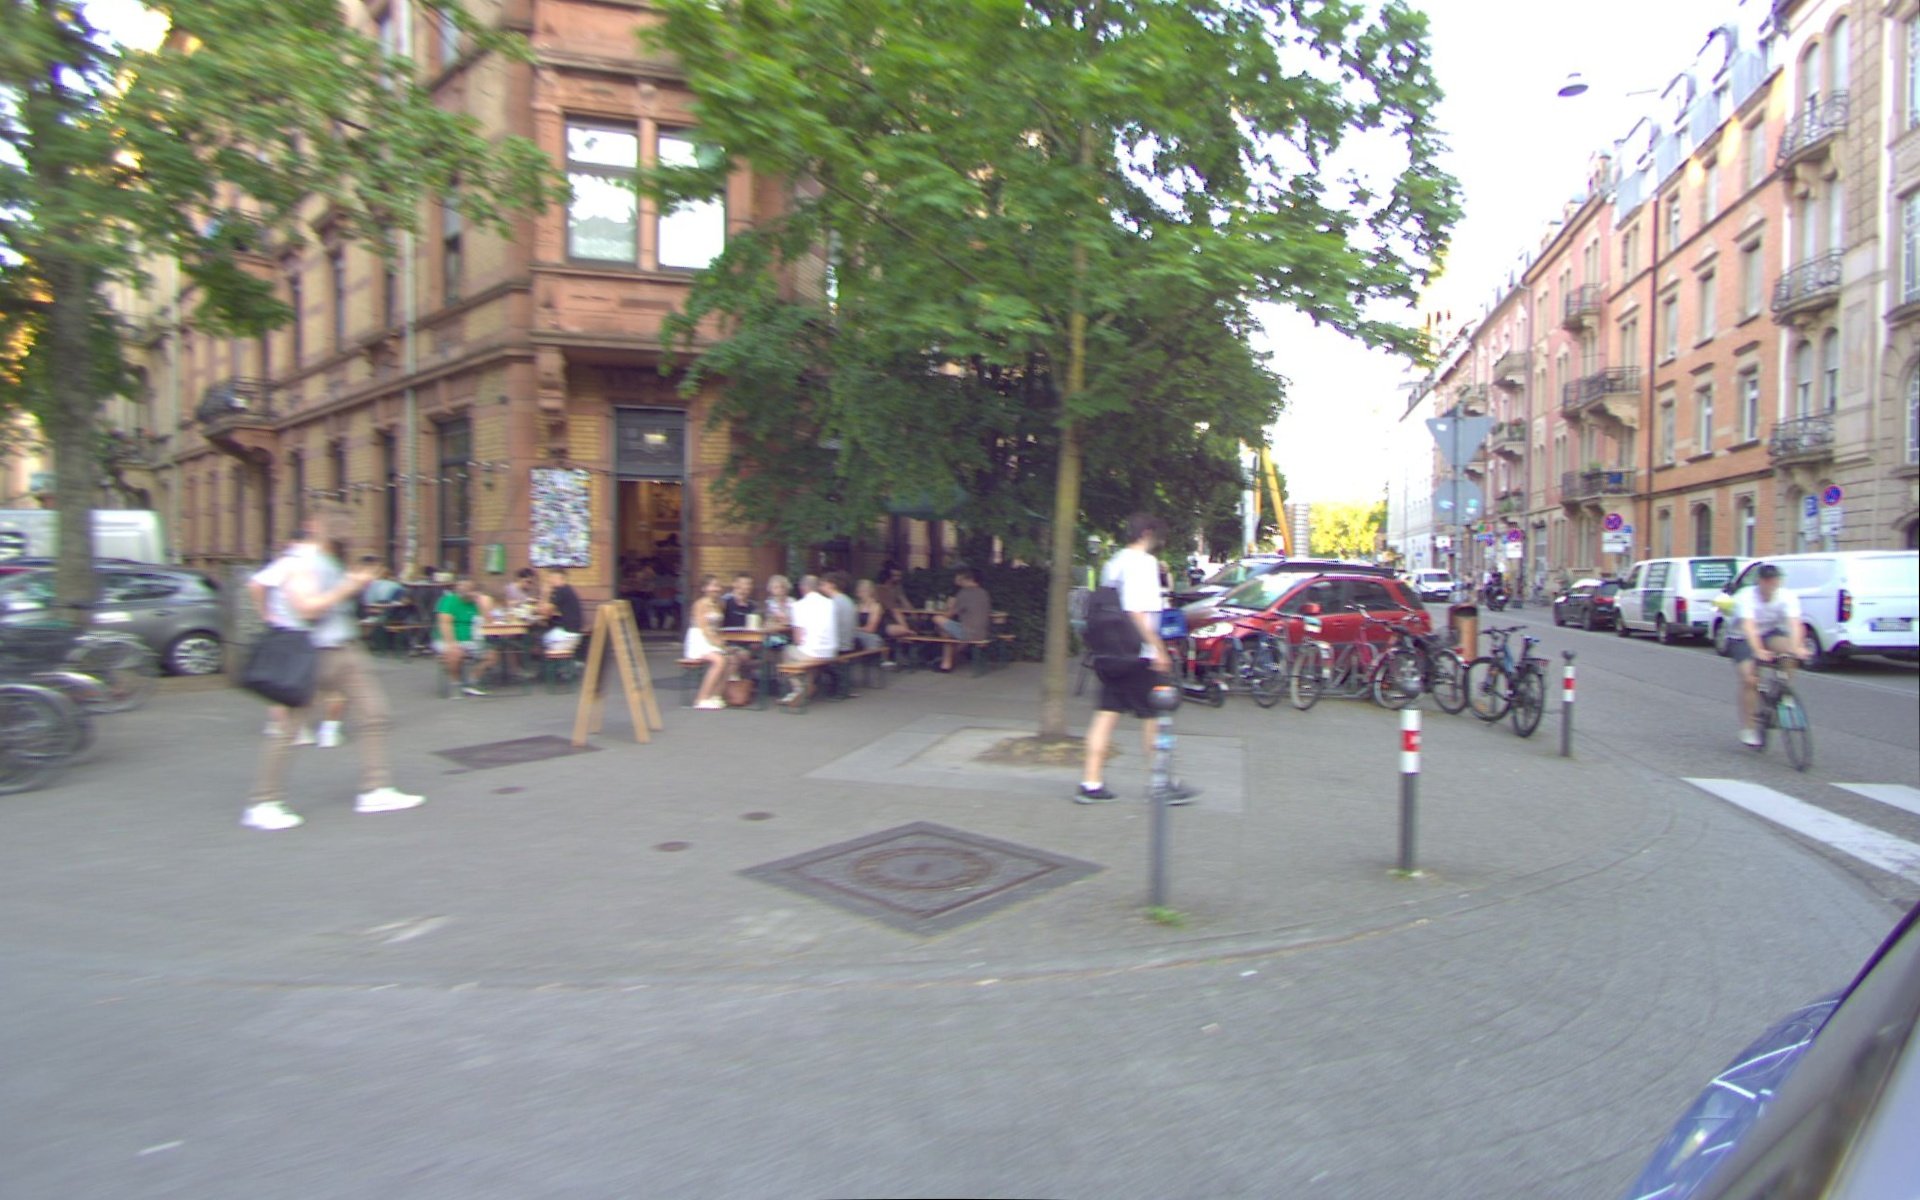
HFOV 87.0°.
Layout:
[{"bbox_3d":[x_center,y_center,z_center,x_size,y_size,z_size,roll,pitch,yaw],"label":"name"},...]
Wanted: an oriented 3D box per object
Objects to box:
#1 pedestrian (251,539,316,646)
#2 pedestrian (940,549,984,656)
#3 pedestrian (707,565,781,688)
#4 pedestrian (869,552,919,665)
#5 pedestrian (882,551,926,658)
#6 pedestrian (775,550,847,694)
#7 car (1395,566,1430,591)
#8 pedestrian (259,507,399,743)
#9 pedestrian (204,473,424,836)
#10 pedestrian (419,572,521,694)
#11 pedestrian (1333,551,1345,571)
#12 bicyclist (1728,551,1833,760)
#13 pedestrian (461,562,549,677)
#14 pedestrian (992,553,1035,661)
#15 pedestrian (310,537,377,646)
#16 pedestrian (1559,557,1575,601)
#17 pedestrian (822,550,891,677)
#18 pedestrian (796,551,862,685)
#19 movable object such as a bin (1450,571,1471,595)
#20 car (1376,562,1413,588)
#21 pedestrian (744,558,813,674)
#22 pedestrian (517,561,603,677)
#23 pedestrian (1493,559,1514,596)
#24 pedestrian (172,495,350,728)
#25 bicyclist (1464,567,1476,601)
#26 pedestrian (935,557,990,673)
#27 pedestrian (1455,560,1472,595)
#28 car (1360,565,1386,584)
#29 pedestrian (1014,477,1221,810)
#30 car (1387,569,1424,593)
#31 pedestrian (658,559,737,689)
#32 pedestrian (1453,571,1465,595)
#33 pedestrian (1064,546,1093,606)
[{"bbox_3d":[-11.133,-0.139,16.653,0.734,1.698,0.765,-3,2,-43],"label":"pedestrian"},{"bbox_3d":[0.032,0.030,13.886,0.545,1.426,0.514,-1,1,5],"label":"pedestrian"},{"bbox_3d":[-2.324,0.272,10.905,0.539,1.285,0.571,-1,2,18],"label":"pedestrian"},{"bbox_3d":[-0.867,0.094,13.243,0.503,1.426,0.621,-2,1,-16],"label":"pedestrian"},{"bbox_3d":[-0.765,0.050,13.972,0.505,1.426,0.619,-1,1,5],"label":"pedestrian"},{"bbox_3d":[-1.481,0.207,10.088,0.538,1.397,0.465,-1,1,15],"label":"pedestrian"},{"bbox_3d":[29.505,-1.409,66.045,1.688,1.549,3.771,0,2,18],"label":"car"},{"bbox_3d":[-5.023,0.164,8.046,0.852,1.745,0.837,-2,2,-35],"label":"pedestrian"},{"bbox_3d":[-3.668,0.258,5.754,0.865,1.850,0.824,0,2,43],"label":"pedestrian"},{"bbox_3d":[-5.222,0.331,10.804,0.619,1.247,0.735,-1,2,21],"label":"pedestrian"},{"bbox_3d":[53.405,-5.521,142.613,1.426,2.774,1.007,-1,1,17],"label":"pedestrian"},{"bbox_3d":[7.111,0.446,8.800,0.523,1.724,0.783,-1,2,24],"label":"bicyclist"},{"bbox_3d":[-5.572,0.223,12.420,0.619,1.362,0.735,-1,2,21],"label":"pedestrian"},{"bbox_3d":[0.731,0.091,13.687,0.545,1.426,0.514,-1,1,5],"label":"pedestrian"},{"bbox_3d":[-9.970,-0.154,16.359,0.734,1.698,0.765,-3,2,-43],"label":"pedestrian"},{"bbox_3d":[25.100,-0.871,41.854,0.459,1.811,0.637,-1,1,21],"label":"pedestrian"},{"bbox_3d":[-1.170,0.142,11.468,0.540,1.397,0.569,-1,2,24],"label":"pedestrian"},{"bbox_3d":[-1.392,0.180,10.794,0.538,1.397,0.465,-1,1,15],"label":"pedestrian"},{"bbox_3d":[26.425,-0.891,53.443,0.878,1.266,0.772,-1,2,18],"label":"movable object such as a bin"},{"bbox_3d":[32.290,-1.890,75.326,1.906,1.906,4.881,0,2,16],"label":"car"},{"bbox_3d":[-2.057,0.170,11.516,0.539,1.285,0.571,-1,2,18],"label":"pedestrian"},{"bbox_3d":[-4.875,0.209,12.375,0.619,1.362,0.735,-1,2,21],"label":"pedestrian"},{"bbox_3d":[27.190,-1.113,50.678,0.673,1.832,0.958,-1,2,12],"label":"pedestrian"},{"bbox_3d":[-5.866,0.080,8.542,0.824,1.850,0.865,-1,1,12],"label":"pedestrian"},{"bbox_3d":[25.080,-0.788,49.806,0.461,1.610,0.484,-1,1,21],"label":"bicyclist"},{"bbox_3d":[0.039,0.183,12.791,0.628,1.426,0.514,-1,1,5],"label":"pedestrian"},{"bbox_3d":[26.250,-1.172,52.771,0.590,1.836,0.719,-1,1,9],"label":"pedestrian"},{"bbox_3d":[36.413,-2.270,89.312,1.708,1.668,3.896,-1,1,17],"label":"car"},{"bbox_3d":[0.960,0.215,6.086,0.864,1.792,0.935,0,2,39],"label":"pedestrian"},{"bbox_3d":[30.864,-1.371,70.197,1.908,1.616,3.947,0,2,18],"label":"car"},{"bbox_3d":[-2.672,0.227,10.324,0.539,1.285,0.571,-1,2,18],"label":"pedestrian"},{"bbox_3d":[26.407,-0.895,53.575,0.473,1.266,0.649,-1,2,18],"label":"pedestrian"},{"bbox_3d":[2.780,-0.568,23.782,0.581,1.382,0.694,-1,2,14],"label":"pedestrian"}]
